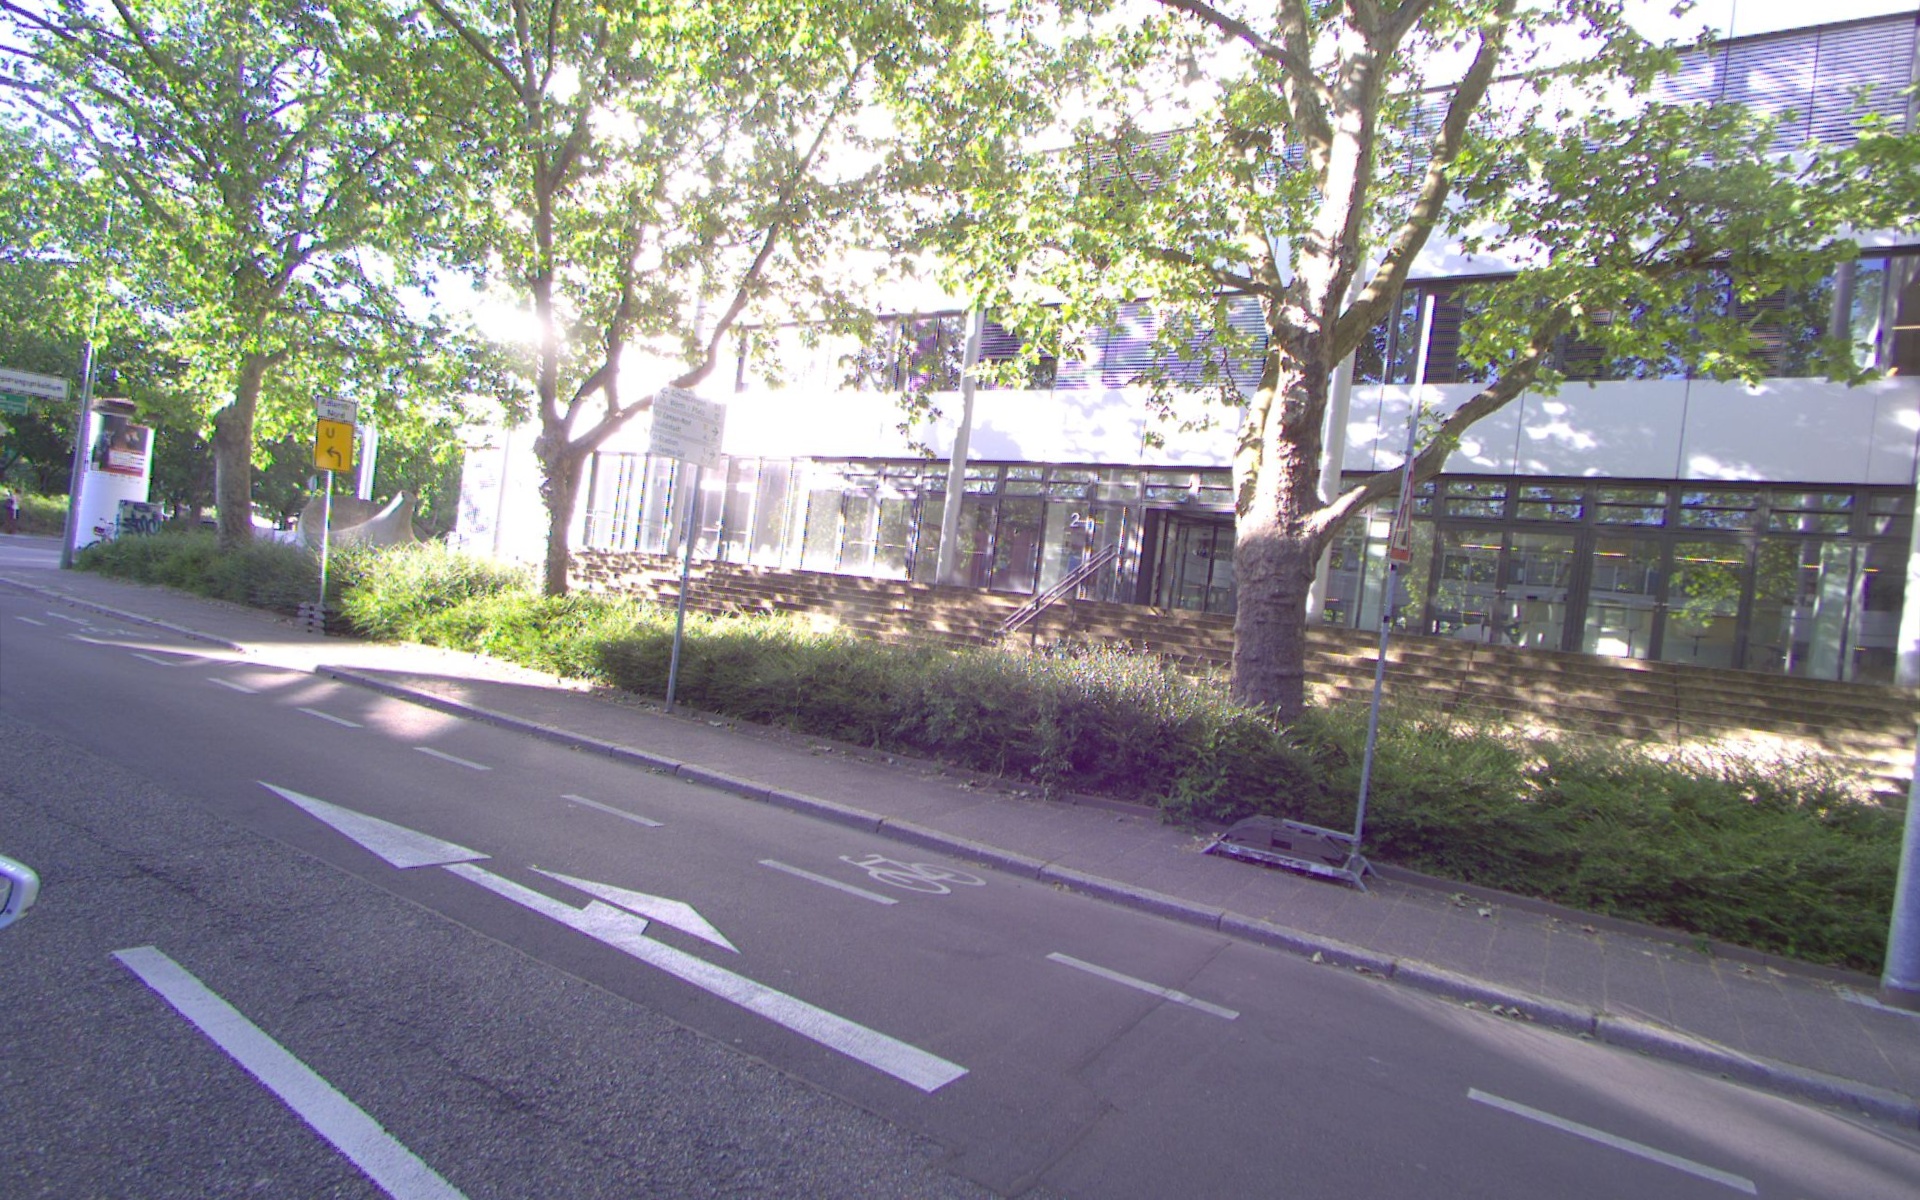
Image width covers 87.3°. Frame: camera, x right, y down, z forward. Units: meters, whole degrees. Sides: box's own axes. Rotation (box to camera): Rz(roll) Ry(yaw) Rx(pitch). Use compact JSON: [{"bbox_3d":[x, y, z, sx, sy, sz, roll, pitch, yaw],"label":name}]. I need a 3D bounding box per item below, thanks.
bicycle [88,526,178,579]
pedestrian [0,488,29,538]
[{"bbox_3d":[-19.039,-1.073,23.178,0.295,0.991,1.484,6,-2,37],"label":"bicycle"},{"bbox_3d":[-36.192,-3.315,38.367,0.672,1.793,0.613,8,-1,-29],"label":"pedestrian"}]
